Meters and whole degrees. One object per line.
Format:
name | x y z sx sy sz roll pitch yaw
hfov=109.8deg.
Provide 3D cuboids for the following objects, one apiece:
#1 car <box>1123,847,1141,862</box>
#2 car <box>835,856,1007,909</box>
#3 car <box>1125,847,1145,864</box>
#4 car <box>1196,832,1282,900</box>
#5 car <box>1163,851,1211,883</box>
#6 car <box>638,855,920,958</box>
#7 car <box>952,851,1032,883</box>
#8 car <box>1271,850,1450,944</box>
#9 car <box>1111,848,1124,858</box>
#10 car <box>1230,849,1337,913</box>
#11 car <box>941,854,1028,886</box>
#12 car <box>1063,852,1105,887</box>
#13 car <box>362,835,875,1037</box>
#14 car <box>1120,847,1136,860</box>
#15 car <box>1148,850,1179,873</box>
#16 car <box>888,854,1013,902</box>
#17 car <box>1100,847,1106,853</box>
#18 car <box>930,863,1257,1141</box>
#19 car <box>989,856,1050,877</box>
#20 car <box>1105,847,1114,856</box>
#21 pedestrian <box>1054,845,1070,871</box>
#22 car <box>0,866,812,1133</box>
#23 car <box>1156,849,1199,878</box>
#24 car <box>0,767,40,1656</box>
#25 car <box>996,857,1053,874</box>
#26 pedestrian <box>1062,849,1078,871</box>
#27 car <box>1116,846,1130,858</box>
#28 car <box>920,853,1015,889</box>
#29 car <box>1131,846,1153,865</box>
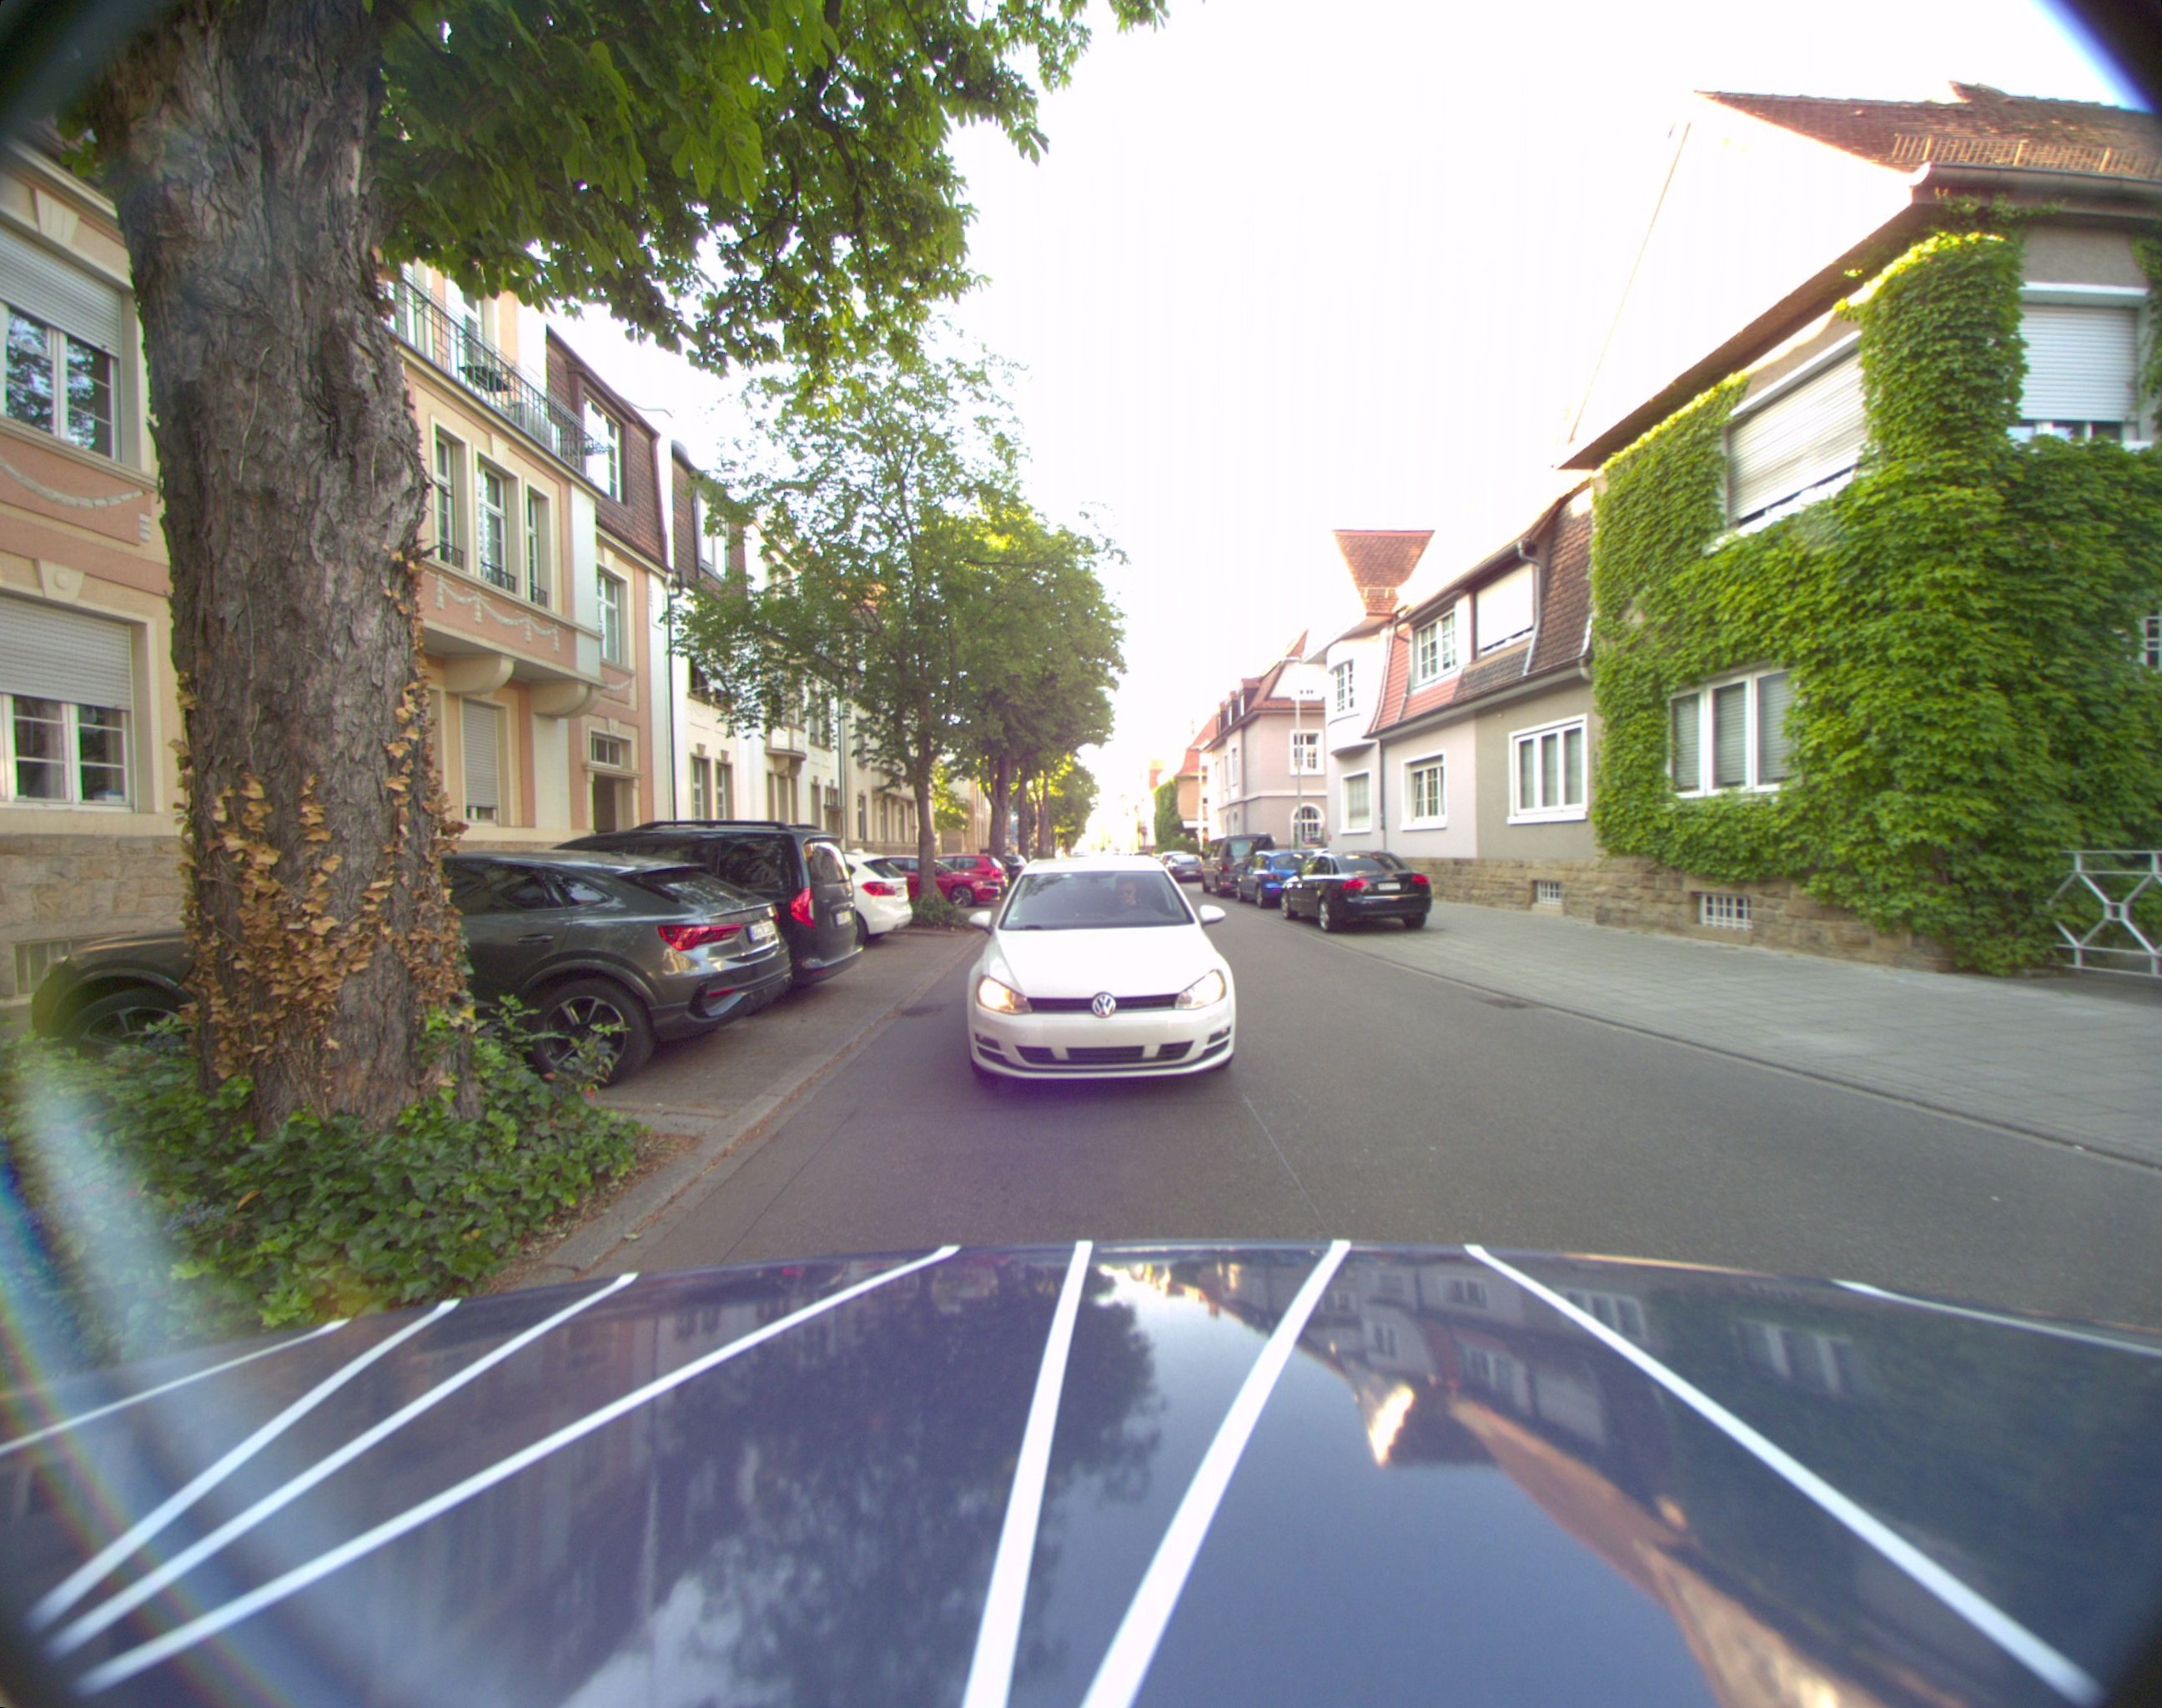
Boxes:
car | 5.435 0.044 80.774 1.699 1.520 3.677 -3 1 2
car | -4.531 0.792 21.949 4.530 1.443 1.867 0 1 3
car | 5.334 0.103 75.282 1.699 1.520 3.677 -3 1 2
car | 5.147 0.346 25.365 1.842 1.964 4.612 -3 1 0
car | 5.063 0.586 36.678 1.932 1.376 4.063 -3 1 4
car | -4.827 0.811 12.542 3.950 1.568 1.719 0 1 0
car | -4.280 0.614 36.850 3.680 1.548 1.576 0 1 2
car | 5.144 0.691 14.684 1.806 1.438 4.428 -3 1 0
car | 5.546 -0.177 115.873 1.699 1.520 3.677 -3 1 2
car | 5.283 0.638 20.354 1.768 1.438 4.062 -3 1 0
car | -4.313 0.705 34.337 3.680 1.390 1.576 0 1 2
car | 0.162 0.666 35.450 1.819 1.454 4.072 -2 0 1
car | -4.433 0.733 7.842 4.121 1.827 1.844 0 1 -2
car | 5.563 -0.064 91.020 1.699 1.520 3.677 -3 1 2
car | 5.440 0.461 50.395 1.662 1.354 3.677 -3 1 2
car | -4.137 0.743 24.477 3.680 1.473 1.659 0 1 3
car | 5.838 -1.012 202.680 1.699 1.520 3.677 -3 1 2
car | 0.108 0.872 6.374 1.819 1.454 4.072 -2 0 1
car | -3.564 0.720 44.447 3.399 1.143 1.542 0 1 2
car | 5.569 -0.500 149.130 1.699 1.520 3.677 -3 1 2
pedestrian | -1.435 0.303 58.619 1.119 1.927 1.097 -3 1 -1
car | -4.535 0.880 5.518 4.522 1.514 1.844 0 1 -4
car | 5.285 0.495 42.155 1.932 1.458 4.062 -3 1 2
car | -4.590 0.766 0.532 4.763 1.864 1.896 0 1 -4
car | -3.515 0.713 47.653 3.399 1.057 1.542 0 1 2
pedestrian | -0.994 0.544 67.861 1.276 1.927 1.186 -3 1 -1
car | 5.543 -0.264 100.746 1.699 1.520 3.677 -3 1 2
car | -4.676 0.702 31.721 3.680 1.458 1.576 0 1 2
car | 5.421 0.137 68.018 1.699 1.558 3.677 -3 1 2
